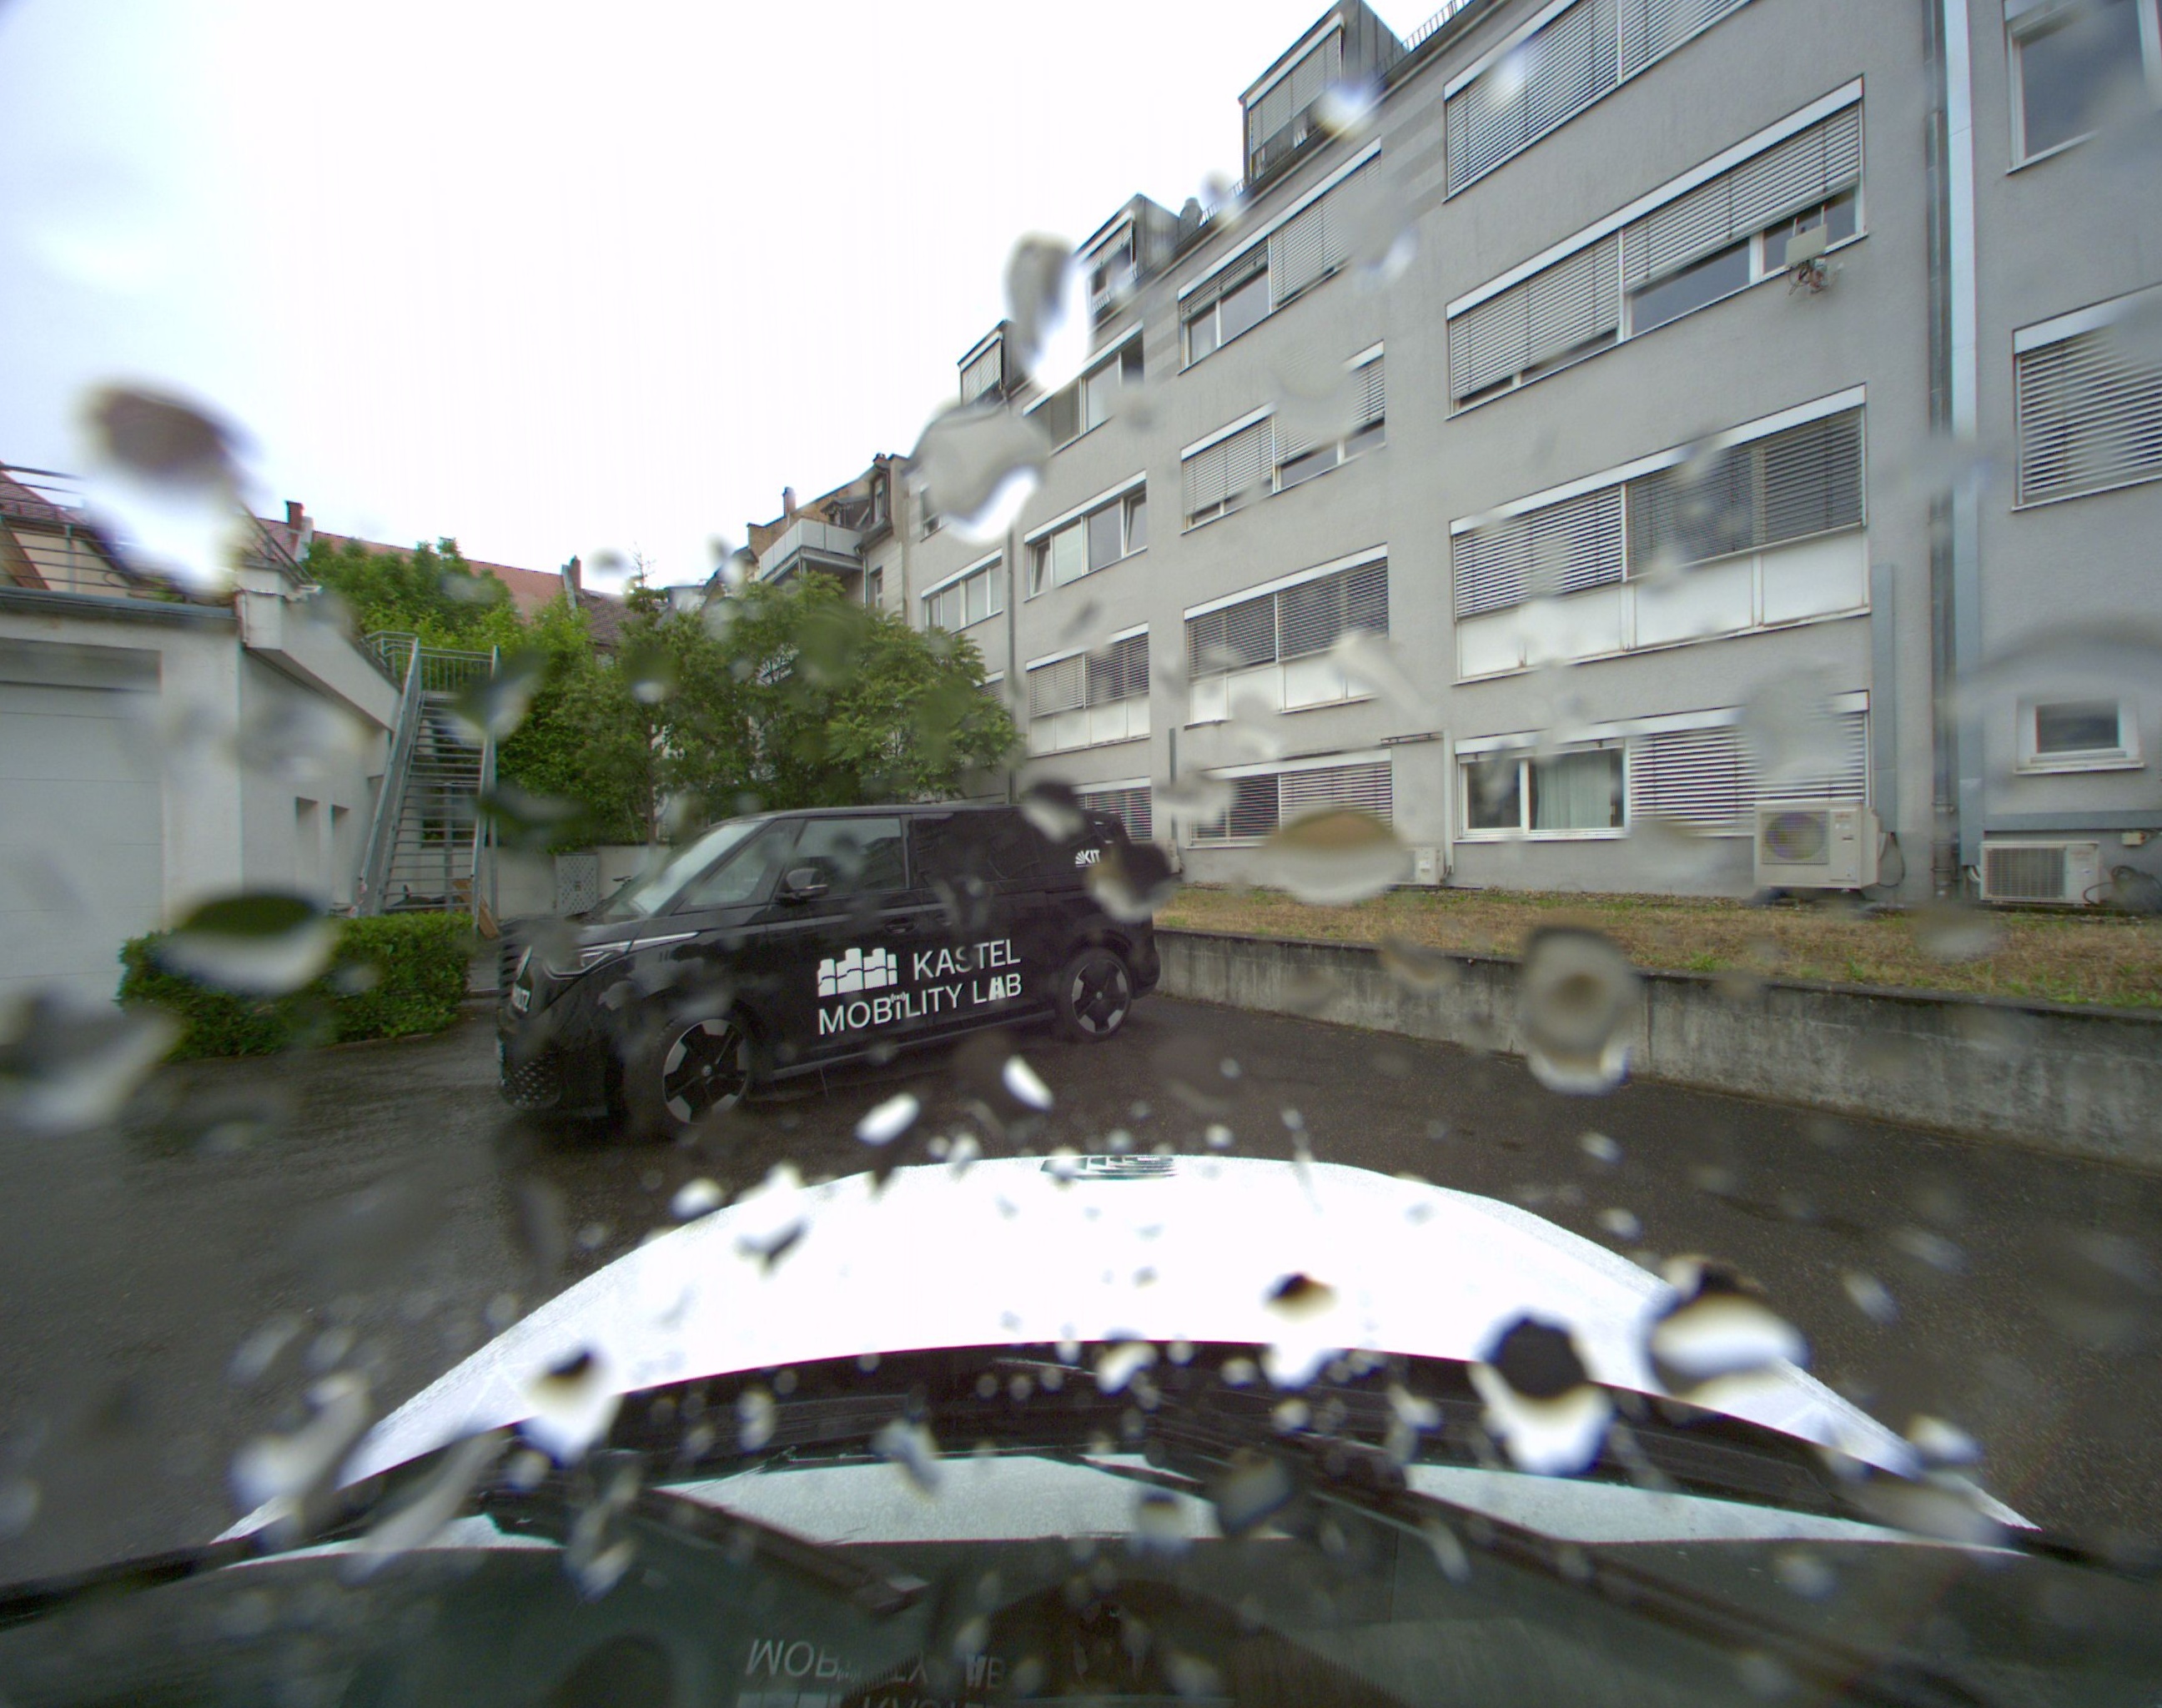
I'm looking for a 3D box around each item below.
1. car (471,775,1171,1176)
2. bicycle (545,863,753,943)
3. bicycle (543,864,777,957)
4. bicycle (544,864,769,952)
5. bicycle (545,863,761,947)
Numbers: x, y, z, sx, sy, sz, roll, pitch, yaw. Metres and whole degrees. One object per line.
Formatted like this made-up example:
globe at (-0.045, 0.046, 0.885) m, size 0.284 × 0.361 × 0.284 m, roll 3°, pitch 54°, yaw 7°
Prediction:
car at (-1.645, 0.549, 6.116) m, size 4.547 × 1.897 × 2.022 m, roll -2°, pitch 0°, yaw -41°
bicycle at (-7.688, 0.828, 14.671) m, size 3.238 × 1.242 × 0.624 m, roll -1°, pitch -1°, yaw -36°
bicycle at (-6.612, 0.837, 12.979) m, size 3.238 × 1.242 × 0.624 m, roll -1°, pitch -1°, yaw -36°
bicycle at (-6.978, 0.834, 13.568) m, size 3.238 × 1.242 × 0.624 m, roll -1°, pitch -1°, yaw -36°
bicycle at (-7.336, 0.831, 14.130) m, size 3.238 × 1.242 × 0.624 m, roll -1°, pitch -1°, yaw -36°
